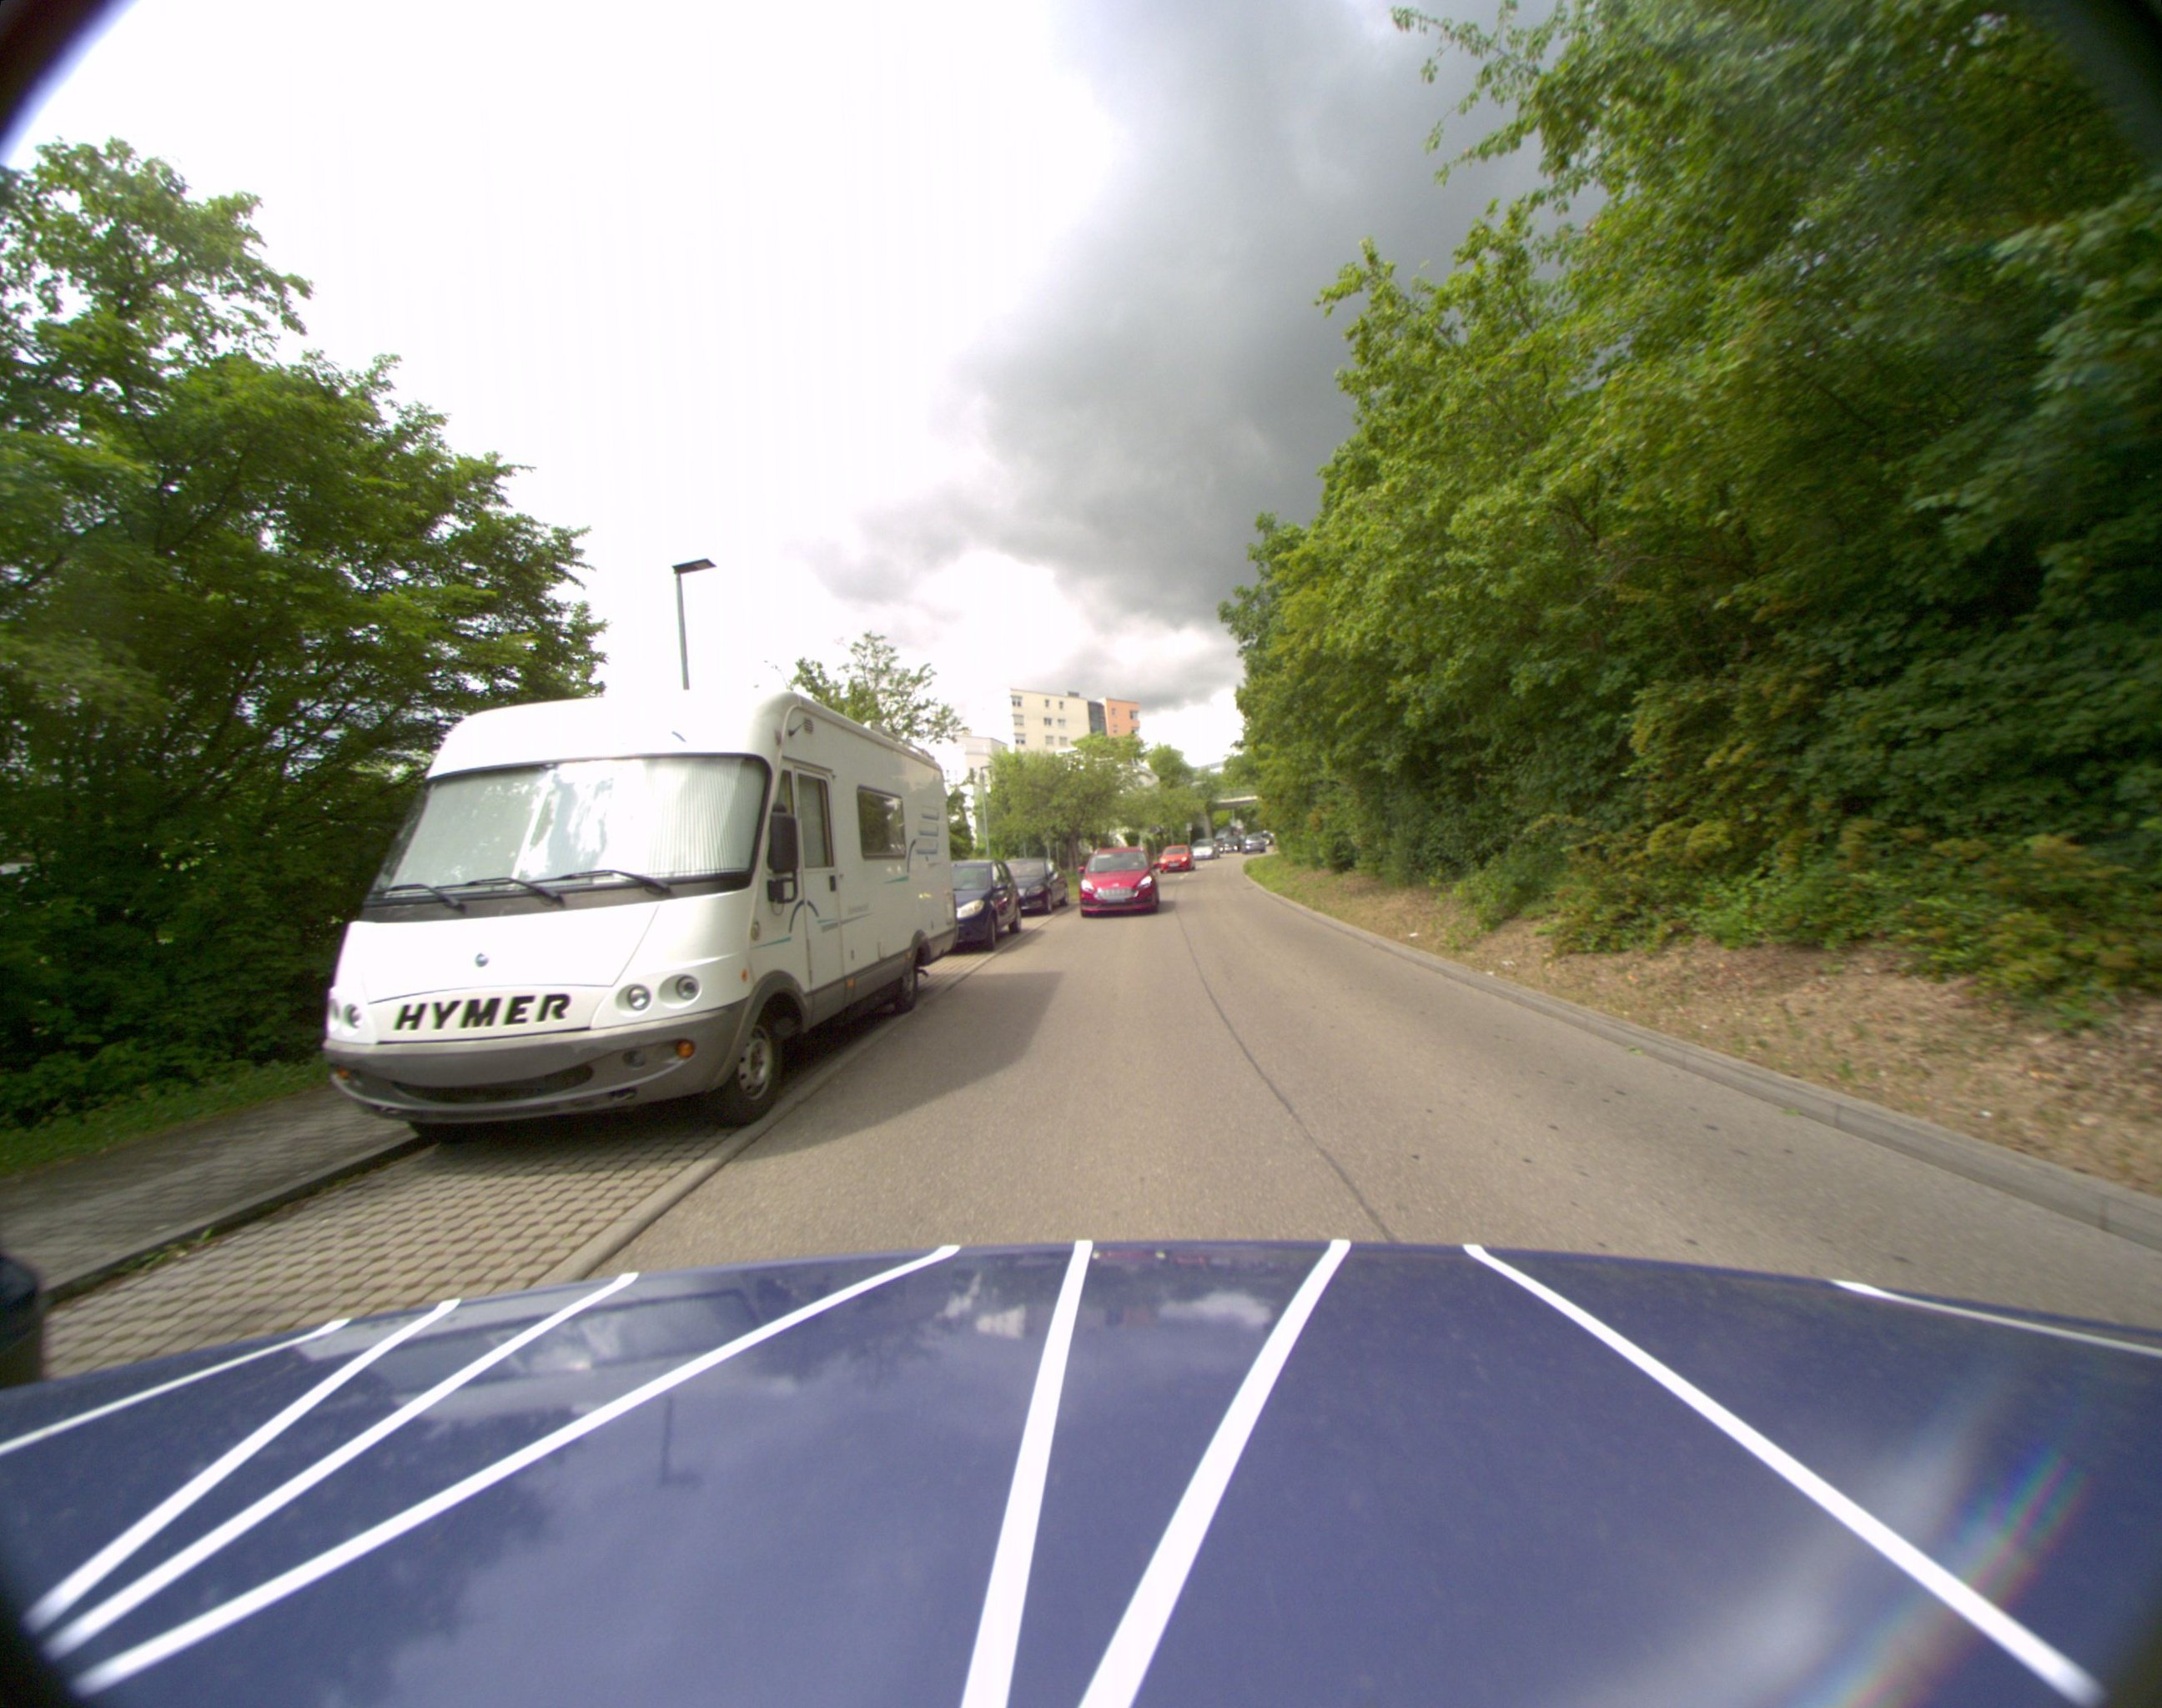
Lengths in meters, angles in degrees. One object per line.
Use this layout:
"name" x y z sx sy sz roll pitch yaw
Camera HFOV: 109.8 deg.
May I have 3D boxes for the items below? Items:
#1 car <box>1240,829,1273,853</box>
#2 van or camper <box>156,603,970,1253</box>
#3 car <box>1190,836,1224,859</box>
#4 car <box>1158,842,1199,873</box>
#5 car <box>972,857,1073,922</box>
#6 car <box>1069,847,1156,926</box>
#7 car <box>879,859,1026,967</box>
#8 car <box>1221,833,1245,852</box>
"car" 14.825 -1.121 64.023 1.754 1.652 4.125 -7 0 24
"van or camper" -2.889 0.373 6.600 2.338 2.852 6.152 -5 0 4
"car" 9.873 -0.545 59.117 1.778 1.444 4.004 -4 1 21
"car" 5.374 0.151 42.499 1.861 1.434 4.000 -5 1 3
"car" -1.461 0.897 20.782 1.779 1.426 4.335 -3 0 8
"car" 0.867 0.711 18.514 1.812 1.600 3.723 -2 1 6
"car" -2.181 0.950 13.978 1.733 1.510 3.889 -3 2 4
"car" 14.274 -1.112 71.105 1.778 1.412 4.002 -4 3 17
